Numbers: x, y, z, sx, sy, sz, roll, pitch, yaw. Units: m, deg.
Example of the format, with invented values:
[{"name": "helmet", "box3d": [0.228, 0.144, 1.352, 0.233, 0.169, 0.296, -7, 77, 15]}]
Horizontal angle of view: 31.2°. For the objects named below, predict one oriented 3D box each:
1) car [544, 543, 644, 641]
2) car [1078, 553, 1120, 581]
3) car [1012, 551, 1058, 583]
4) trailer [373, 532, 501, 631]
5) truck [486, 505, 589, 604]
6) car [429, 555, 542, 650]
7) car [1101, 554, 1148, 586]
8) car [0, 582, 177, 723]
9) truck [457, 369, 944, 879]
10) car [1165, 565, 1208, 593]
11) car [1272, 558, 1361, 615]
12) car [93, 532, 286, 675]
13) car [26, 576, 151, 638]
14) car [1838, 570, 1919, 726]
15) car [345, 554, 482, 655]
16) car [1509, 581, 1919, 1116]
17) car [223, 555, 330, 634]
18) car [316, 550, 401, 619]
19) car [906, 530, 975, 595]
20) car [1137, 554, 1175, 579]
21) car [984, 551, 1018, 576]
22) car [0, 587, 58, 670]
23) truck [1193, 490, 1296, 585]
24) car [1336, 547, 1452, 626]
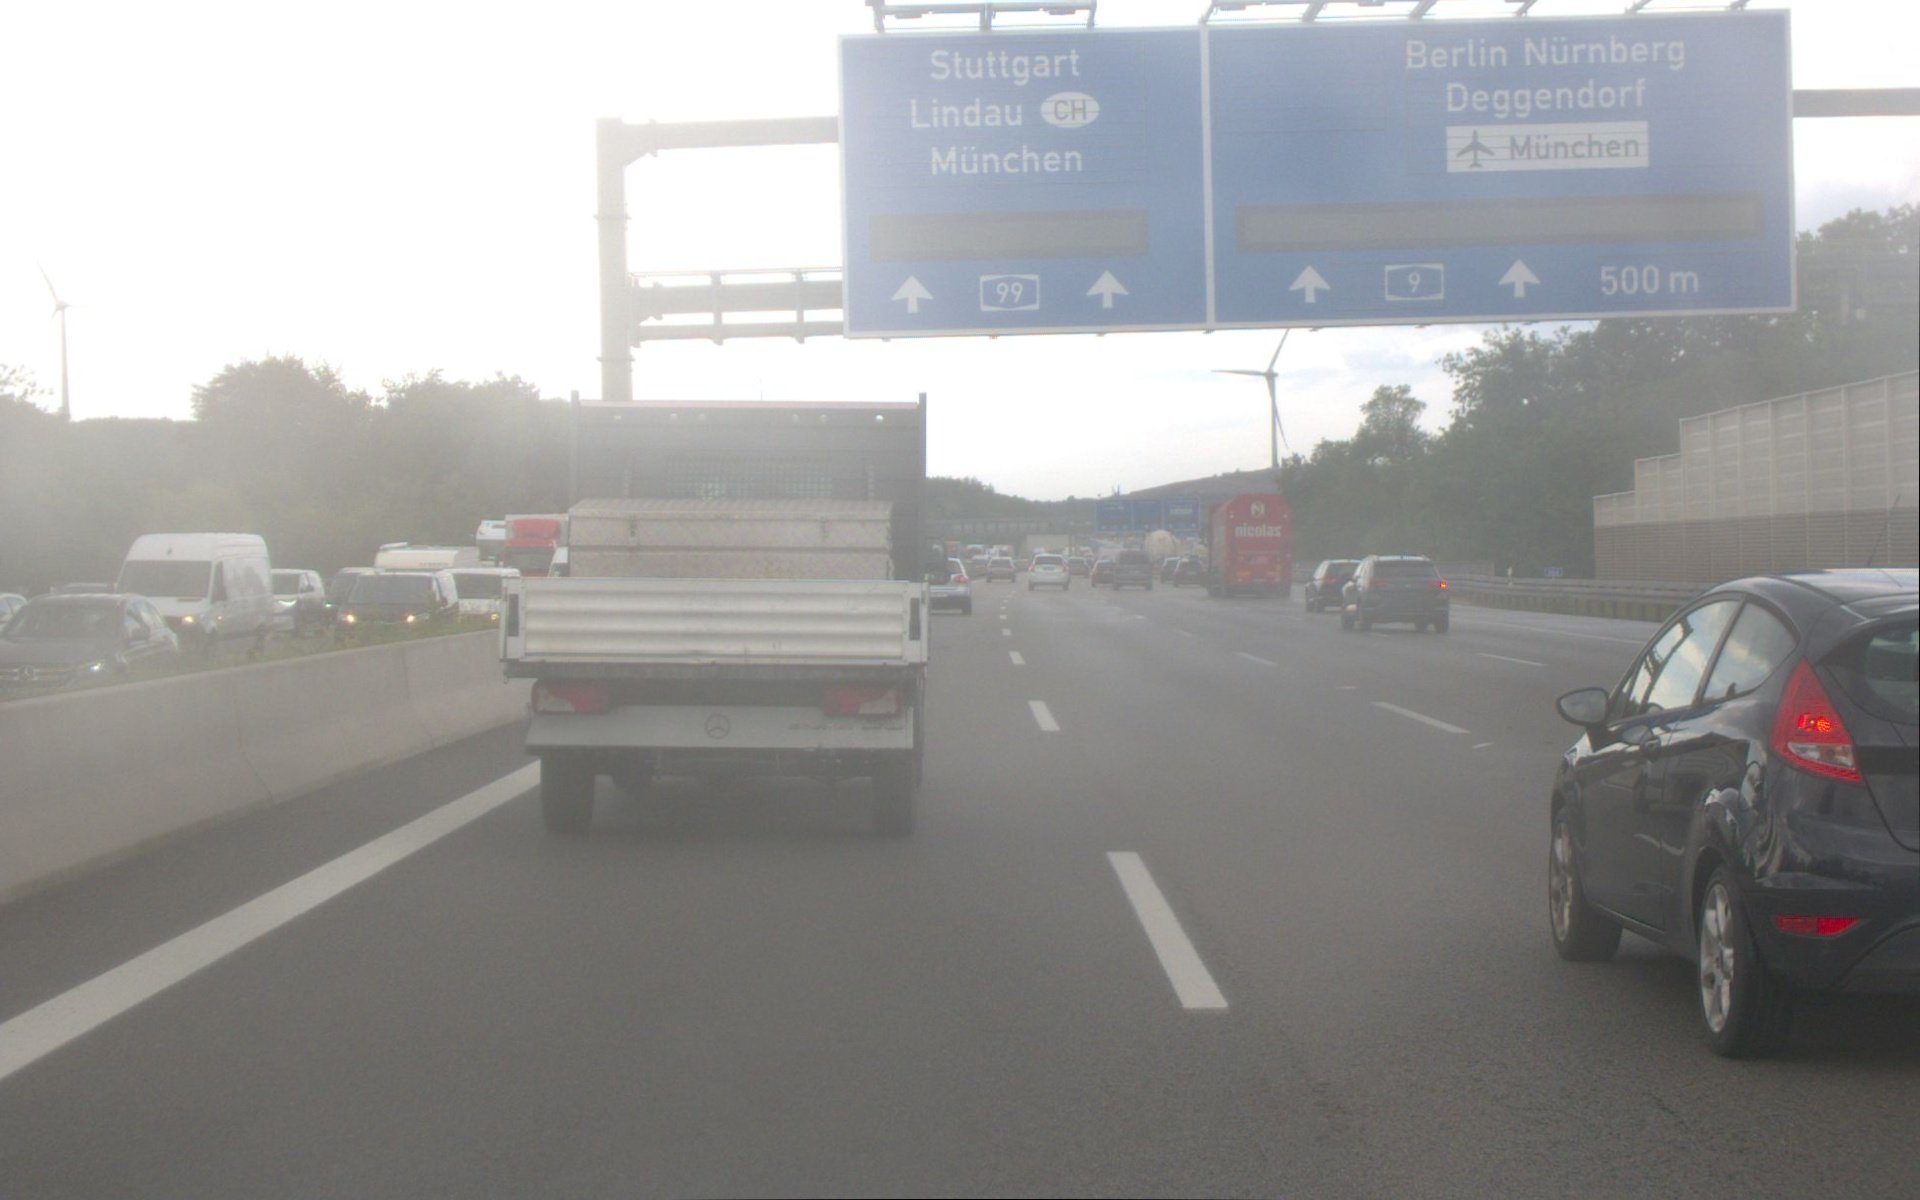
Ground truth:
[{"name": "car", "box3d": [-10.290, -0.255, 97.121, 2.024, 2.669, 7.311, -1, 1, 0]}, {"name": "car", "box3d": [7.848, -1.861, 194.349, 1.967, 1.555, 4.433, -1, 1, -3]}, {"name": "car", "box3d": [3.633, -1.610, 167.933, 1.968, 1.555, 4.433, -1, 1, -2]}, {"name": "trailer", "box3d": [-14.491, -0.527, 95.731, 2.342, 2.644, 7.183, -1, 1, 1]}, {"name": "truck", "box3d": [-18.166, -1.950, 148.404, 2.798, 4.098, 12.295, -1, 1, 0]}, {"name": "car", "box3d": [-10.716, 0.033, 77.950, 1.818, 2.070, 5.375, -1, 1, 0]}, {"name": "car", "box3d": [8.182, -1.509, 171.562, 1.968, 1.555, 4.433, -1, 1, -2]}, {"name": "car", "box3d": [-11.216, 0.609, 43.123, 1.723, 1.597, 4.914, 1, 1, -1]}, {"name": "truck", "box3d": [-1.266, 0.007, 20.083, 2.307, 2.431, 7.149, 0, 2, 0]}, {"name": "car", "box3d": [12.771, -1.196, 194.241, 1.968, 1.555, 4.433, -1, 1, -2]}, {"name": "car", "box3d": [10.017, -0.405, 96.910, 1.882, 1.555, 4.433, -1, 1, -2]}, {"name": "car", "box3d": [-15.102, 0.024, 67.888, 2.048, 2.643, 7.736, -1, 1, 0]}, {"name": "car", "box3d": [-21.870, 0.153, 86.412, 1.982, 1.489, 4.478, -1, 1, 0]}, {"name": "car", "box3d": [9.758, 0.430, 32.296, 1.950, 1.413, 4.232, 0, 1, 0]}, {"name": "car", "box3d": [-10.707, 0.052, 67.727, 1.818, 1.898, 5.424, -1, 1, 0]}, {"name": "car", "box3d": [3.013, 0.654, 11.345, 1.717, 1.412, 4.278, 0, 1, 0]}, {"name": "car", "box3d": [-18.502, -0.174, 93.215, 1.982, 2.070, 4.478, -1, 1, 0]}, {"name": "car", "box3d": [-18.495, -0.508, 105.943, 1.818, 2.070, 4.478, -1, 1, 0]}, {"name": "car", "box3d": [-0.523, -0.999, 90.207, 1.717, 1.618, 4.279, 0, 2, -1]}, {"name": "car", "box3d": [12.426, -2.115, 217.768, 1.968, 1.555, 4.433, -1, 1, -2]}, {"name": "car", "box3d": [2.638, -2.339, 220.526, 1.968, 1.555, 4.433, -1, 1, -2]}, {"name": "car", "box3d": [-18.395, 0.525, 63.876, 1.982, 1.489, 4.913, -1, 1, 0]}, {"name": "truck", "box3d": [11.312, -2.555, 137.907, 3.152, 3.589, 12.700, 1, 1, 1]}, {"name": "car", "box3d": [8.824, -0.291, 70.207, 1.882, 1.537, 4.433, -1, 1, 1]}]
